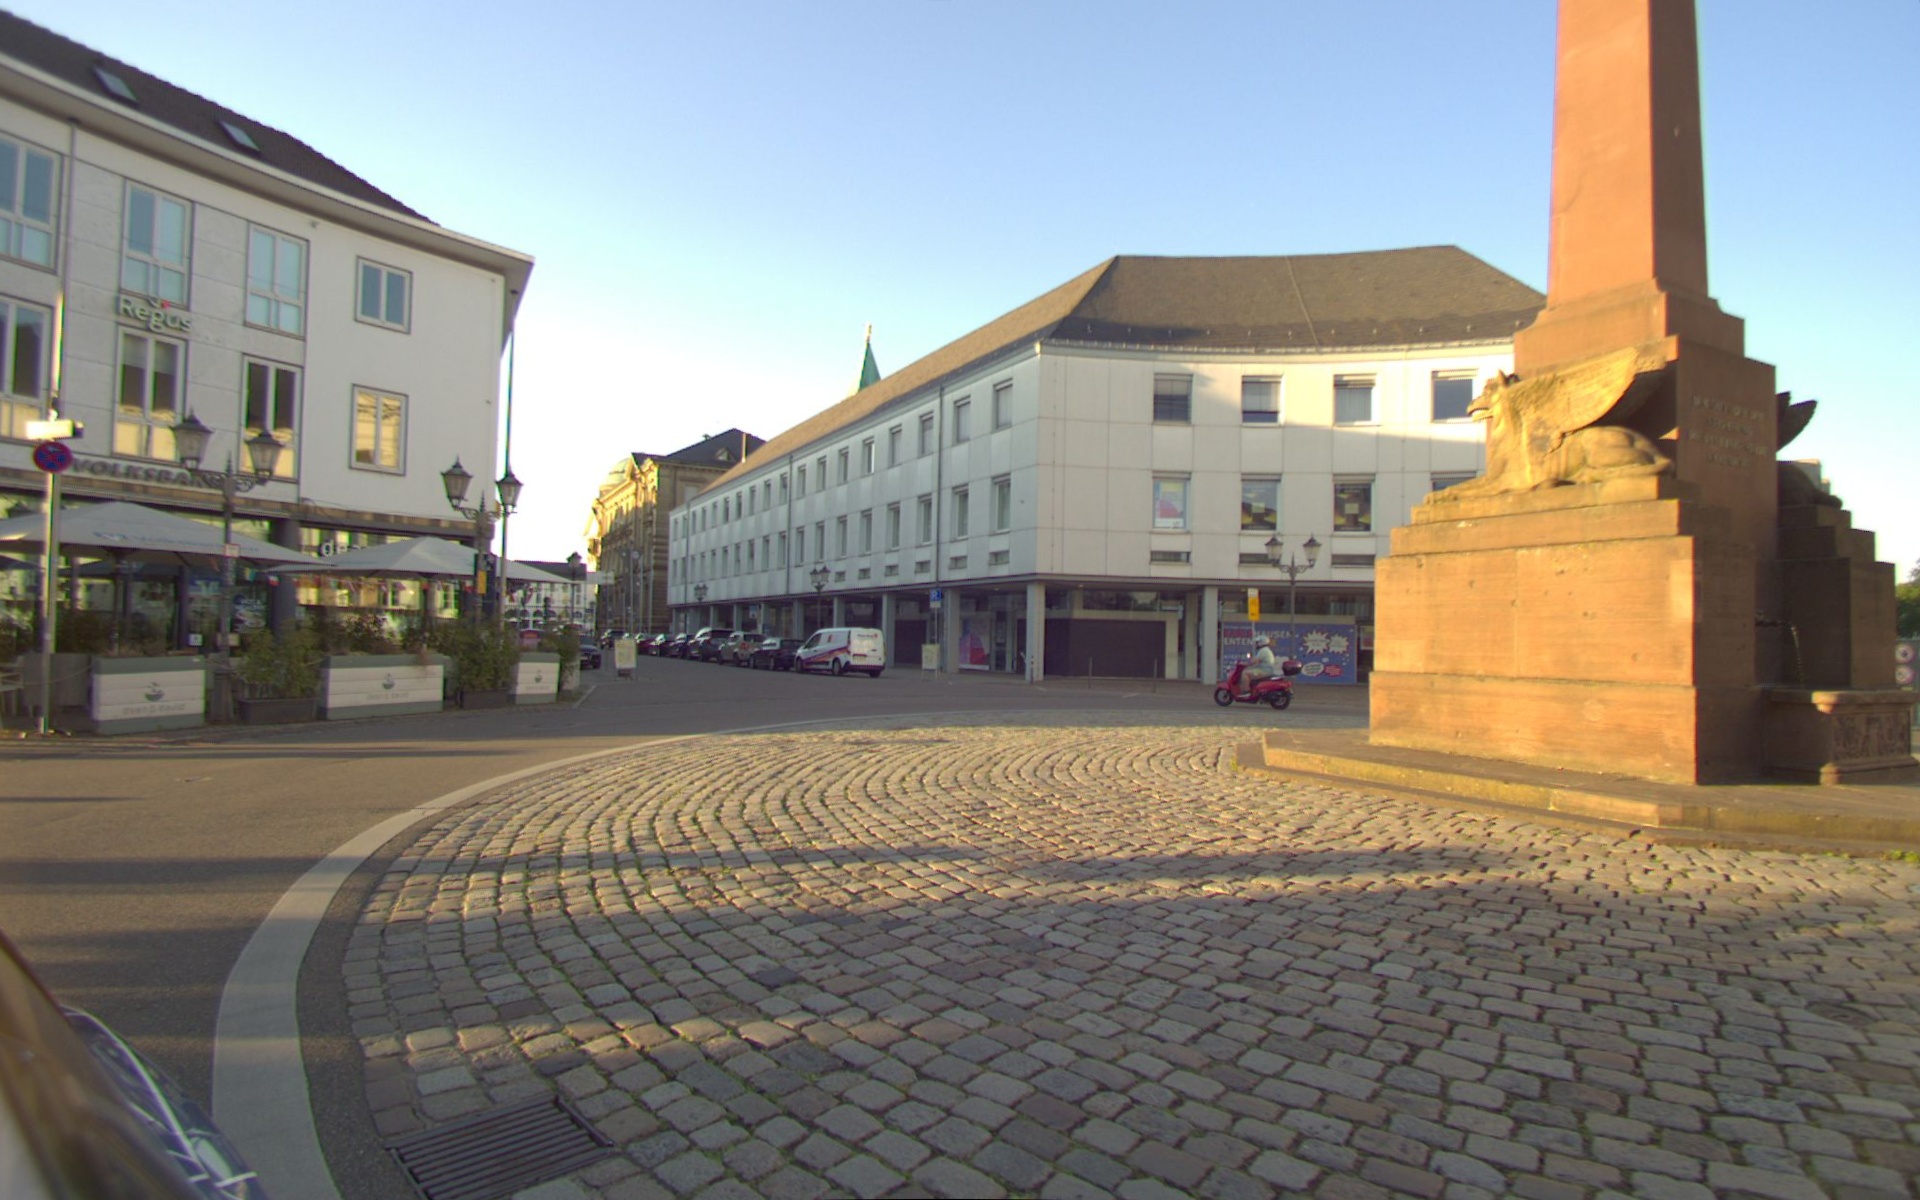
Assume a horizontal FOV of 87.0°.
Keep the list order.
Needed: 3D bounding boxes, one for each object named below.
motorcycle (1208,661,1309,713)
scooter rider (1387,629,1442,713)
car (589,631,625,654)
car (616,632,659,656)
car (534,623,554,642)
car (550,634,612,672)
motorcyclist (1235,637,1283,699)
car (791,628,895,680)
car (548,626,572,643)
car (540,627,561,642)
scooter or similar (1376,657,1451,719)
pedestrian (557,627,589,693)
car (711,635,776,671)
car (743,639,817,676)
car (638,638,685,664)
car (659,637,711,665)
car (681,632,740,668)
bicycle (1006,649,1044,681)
[{"bbox_3d":[6.654,1.925,22.610,2.026,1.053,0.796,0,-3,32],"label":"motorcycle"},{"bbox_3d":[9.898,1.521,22.047,0.909,1.777,0.676,-1,-3,45],"label":"scooter rider"},{"bbox_3d":[-27.405,3.303,78.522,1.752,1.679,4.341,2,-3,-30],"label":"car"},{"bbox_3d":[-21.283,2.894,66.747,1.752,1.503,4.341,2,-3,-30],"label":"car"},{"bbox_3d":[-50.347,3.902,122.391,1.751,2.244,4.342,2,-3,-28],"label":"car"},{"bbox_3d":[-15.464,2.117,41.199,1.751,1.435,3.973,2,-3,-29],"label":"car"},{"bbox_3d":[6.680,1.506,22.601,0.858,1.354,0.796,-1,-3,32],"label":"motorcyclist"},{"bbox_3d":[-4.505,2.013,38.309,1.988,1.839,4.471,3,-3,-35],"label":"car"},{"bbox_3d":[-41.810,3.598,105.781,1.751,1.679,4.342,2,-3,-28],"label":"car"},{"bbox_3d":[-47.361,3.967,117.054,1.751,1.679,4.342,2,-3,-28],"label":"car"},{"bbox_3d":[9.871,1.899,22.047,0.678,1.281,1.360,3,-3,-45],"label":"scooter or similar"},{"bbox_3d":[-10.314,1.589,26.977,0.594,1.713,0.715,3,-3,-34],"label":"pedestrian"},{"bbox_3d":[-10.075,2.430,46.857,1.752,1.527,3.973,2,-3,-30],"label":"car"},{"bbox_3d":[-7.651,2.418,42.792,1.752,1.435,3.973,2,-3,-30],"label":"car"},{"bbox_3d":[-18.277,3.079,61.868,1.752,1.503,4.341,2,-3,-30],"label":"car"},{"bbox_3d":[-15.681,2.889,57.527,1.752,1.503,4.341,2,-3,-30],"label":"car"},{"bbox_3d":[-12.930,2.549,52.317,1.752,1.741,4.341,2,-3,-30],"label":"car"},{"bbox_3d":[2.545,2.551,39.875,0.473,1.164,1.955,2,-3,-29],"label":"bicycle"}]
